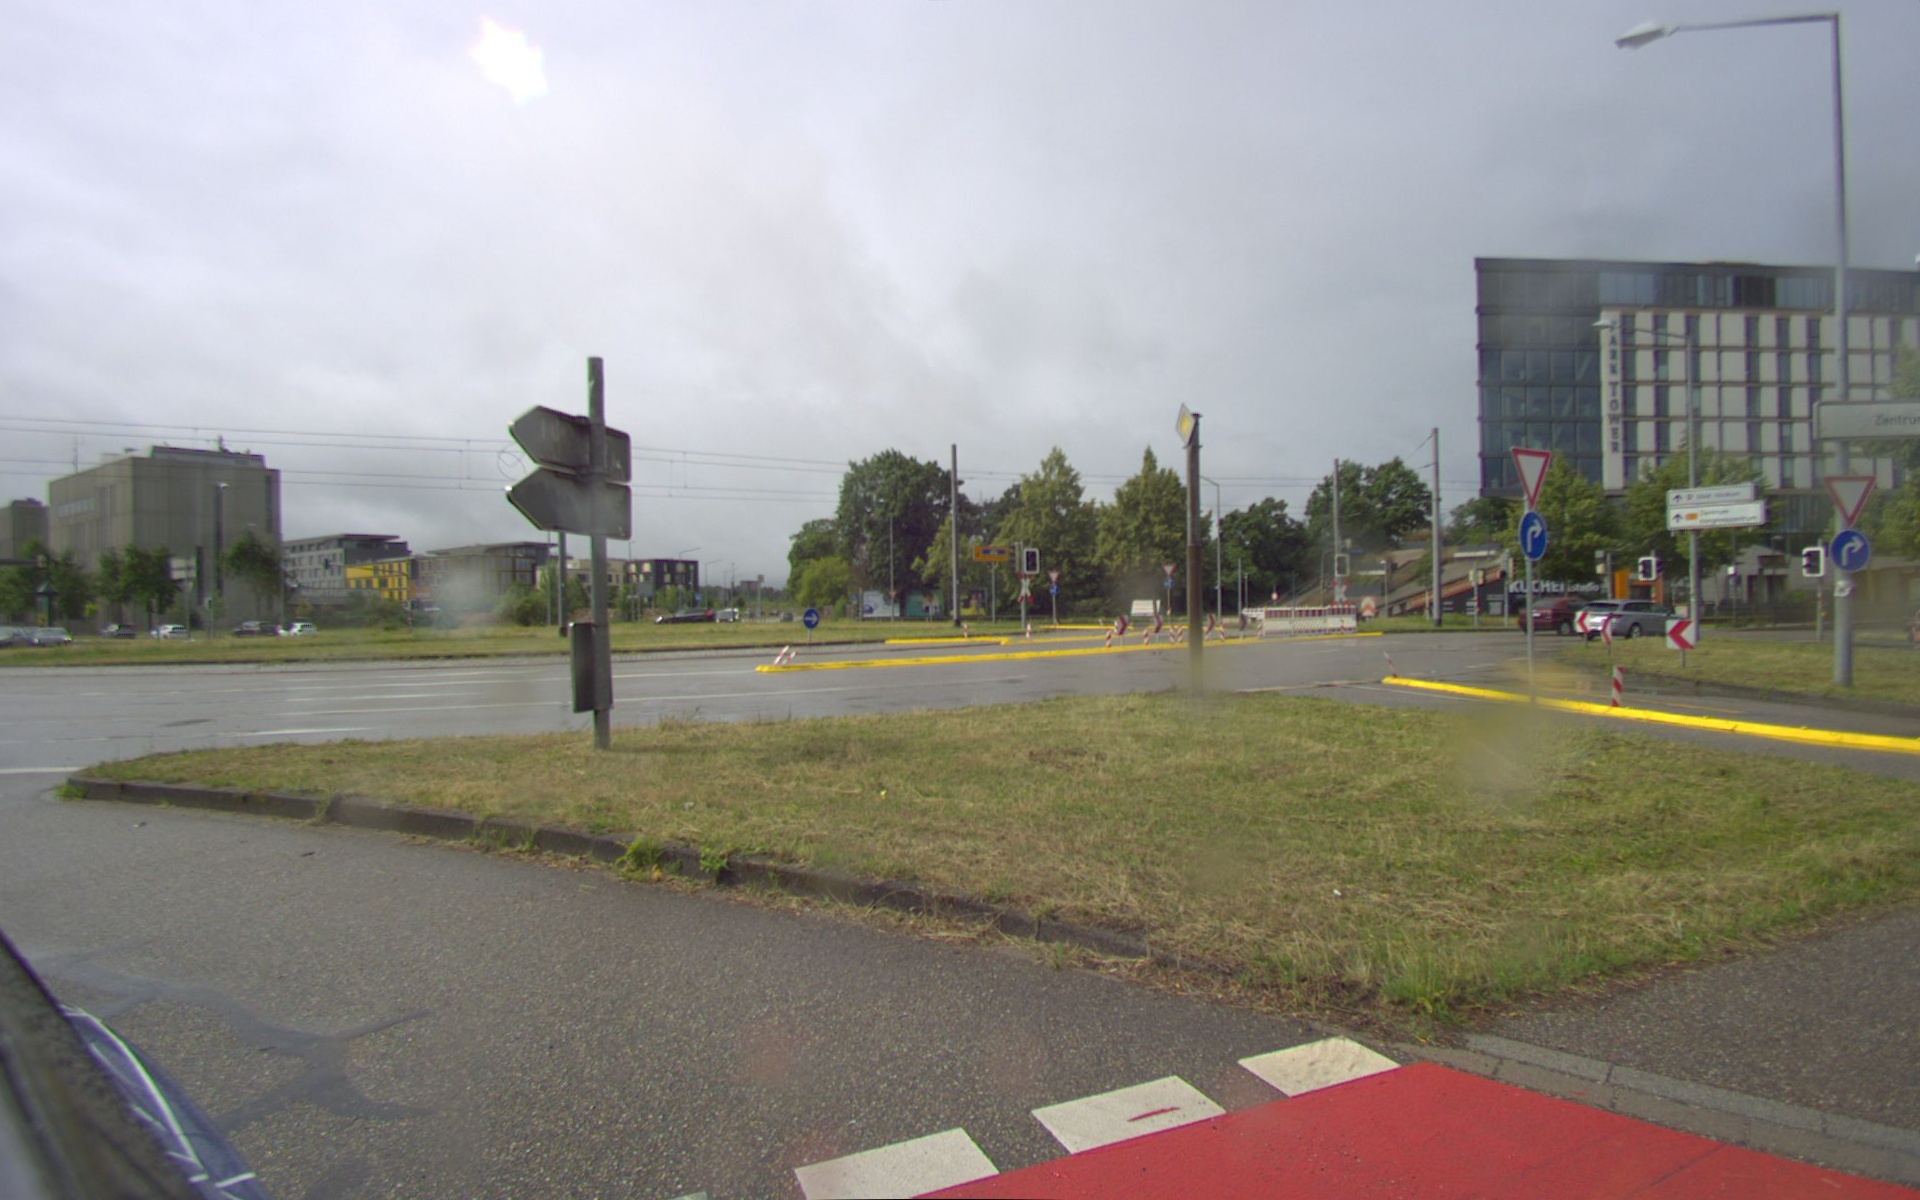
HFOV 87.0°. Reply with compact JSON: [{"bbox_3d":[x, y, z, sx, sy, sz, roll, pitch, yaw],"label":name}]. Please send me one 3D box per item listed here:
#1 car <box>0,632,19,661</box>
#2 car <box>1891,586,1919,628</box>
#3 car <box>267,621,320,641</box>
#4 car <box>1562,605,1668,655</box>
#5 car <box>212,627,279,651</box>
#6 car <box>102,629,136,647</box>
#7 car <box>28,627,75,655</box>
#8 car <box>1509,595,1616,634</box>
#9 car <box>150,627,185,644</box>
[{"bbox_3d":[-48.431,2.326,50.100,4.542,1.390,1.845,-2,-1,36],"label":"car"},{"bbox_3d":[37.963,0.242,39.087,3.439,1.572,1.555,-1,-1,-22],"label":"car"},{"bbox_3d":[-55.718,2.580,84.574,4.452,1.685,1.848,0,-2,30],"label":"car"},{"bbox_3d":[22.830,1.023,35.247,3.489,1.572,1.605,-1,-1,-29],"label":"car"},{"bbox_3d":[-53.782,2.897,76.193,3.773,1.684,1.864,-1,0,4],"label":"car"},{"bbox_3d":[-83.926,3.813,100.990,4.480,1.676,1.850,-3,-1,41],"label":"car"},{"bbox_3d":[-54.463,2.449,60.644,1.840,1.547,4.490,0,-1,-45],"label":"car"},{"bbox_3d":[23.345,0.565,39.213,3.931,1.473,1.725,0,-2,-28],"label":"car"},{"bbox_3d":[-70.246,3.148,89.649,3.901,1.519,1.704,-2,-1,40],"label":"car"}]
